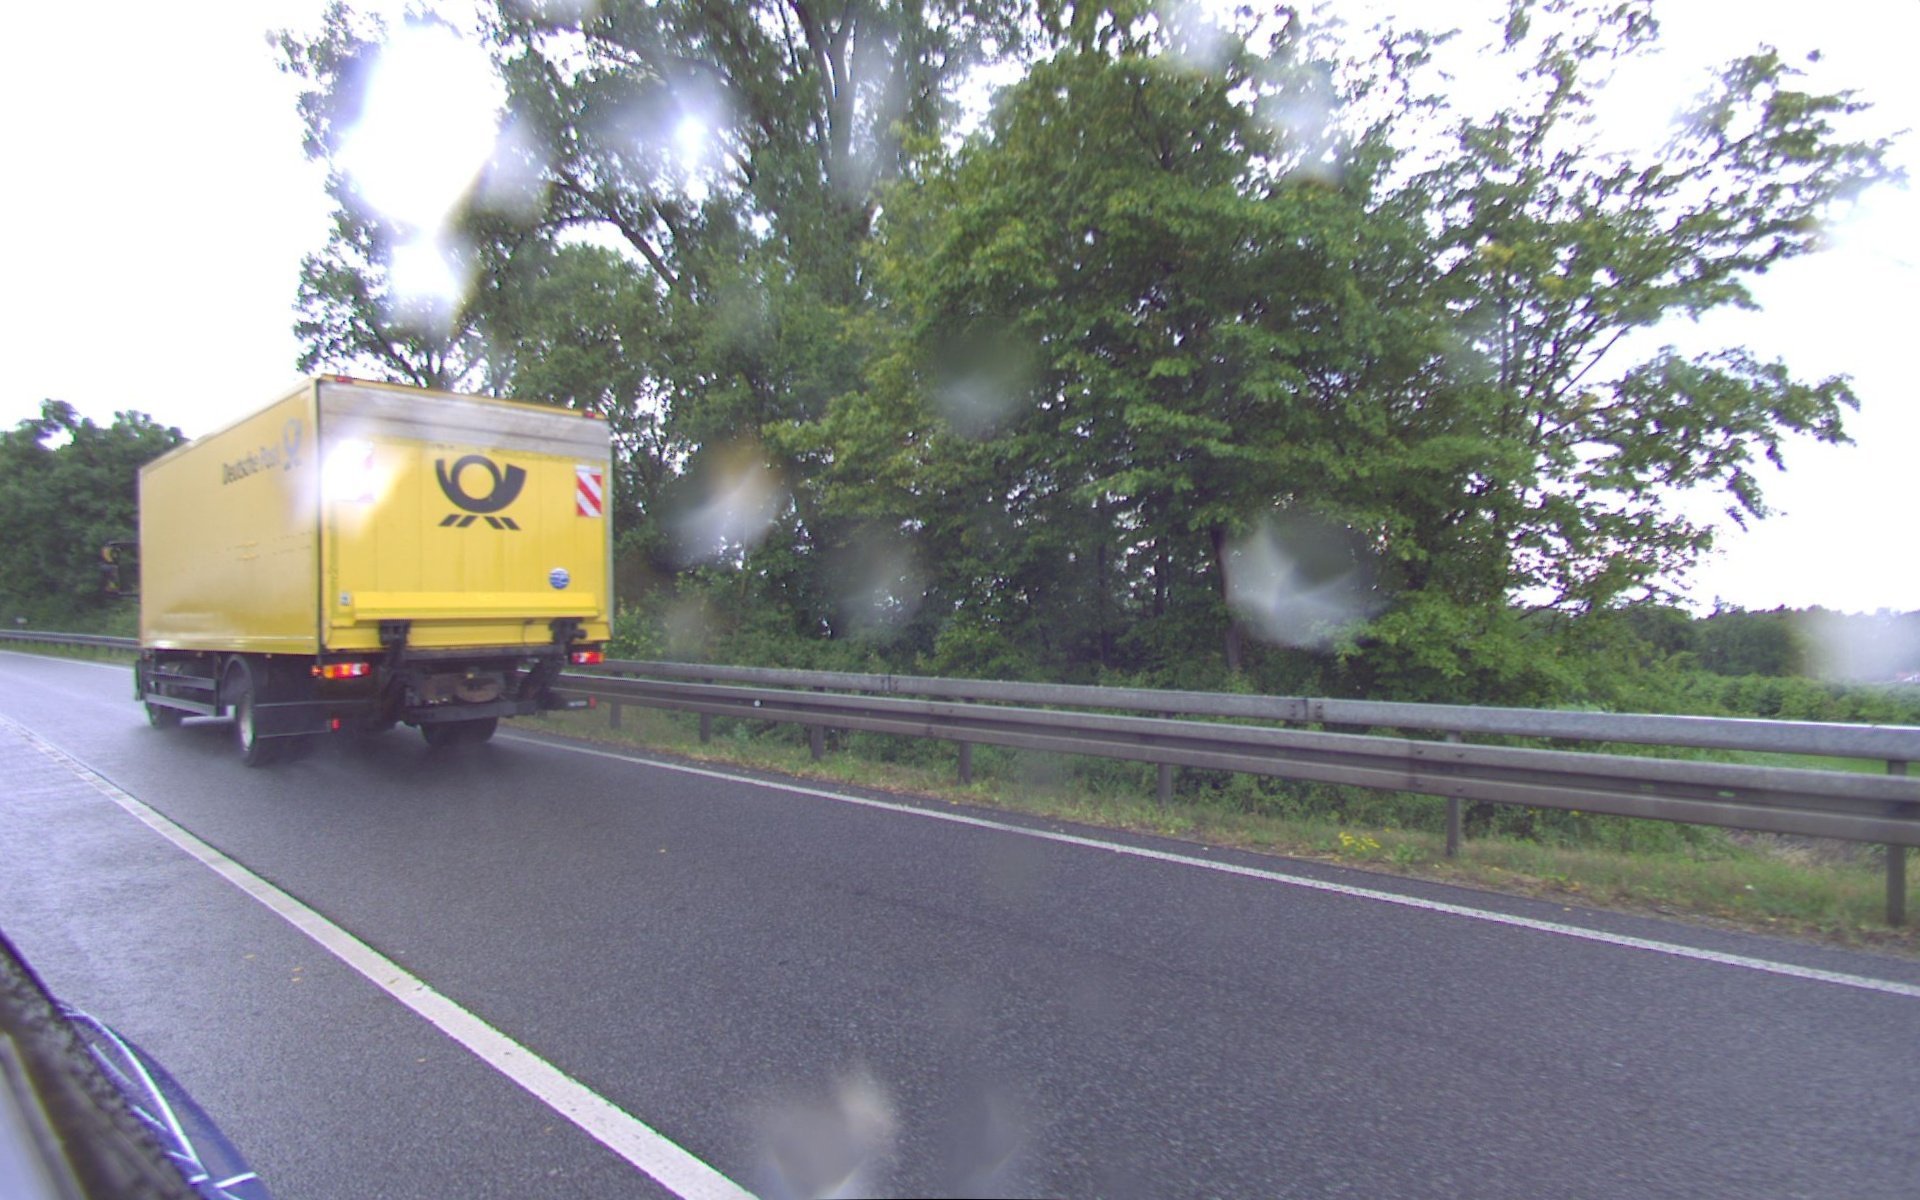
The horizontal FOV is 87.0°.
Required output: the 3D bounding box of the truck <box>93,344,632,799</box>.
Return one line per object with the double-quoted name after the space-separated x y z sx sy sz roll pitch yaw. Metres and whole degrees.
-7.489 -0.131 11.774 9.184 3.455 2.741 -1 -1 42 "truck"
